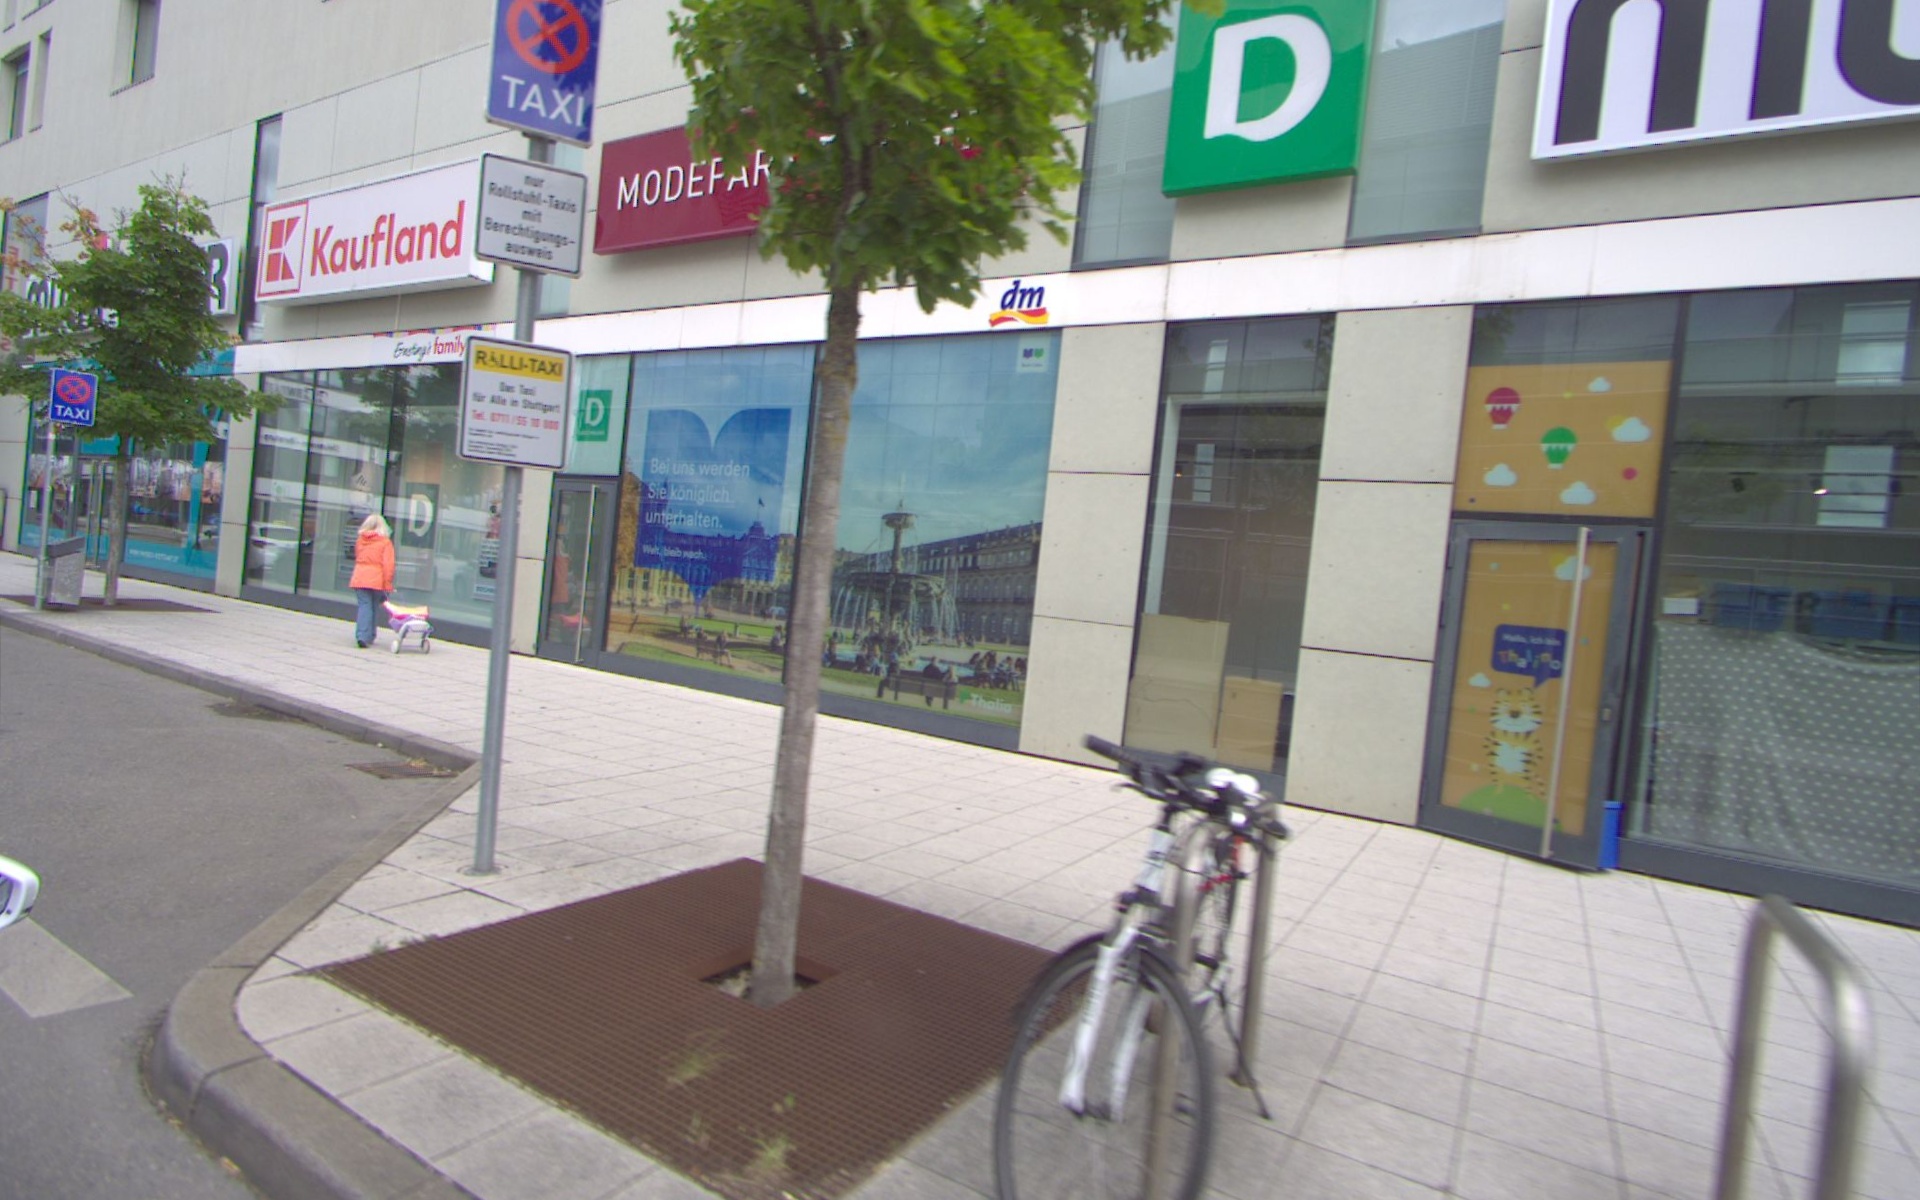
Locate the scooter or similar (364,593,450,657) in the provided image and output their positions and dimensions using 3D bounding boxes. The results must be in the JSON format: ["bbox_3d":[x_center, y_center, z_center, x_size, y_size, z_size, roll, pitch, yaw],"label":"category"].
[{"bbox_3d":[-6.443,0.291,11.724,0.755,0.643,0.551,7,2,32],"label":"scooter or similar"}]

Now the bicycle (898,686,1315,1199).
[{"bbox_3d":[0.518,0.870,2.684,0.551,1.115,1.742,7,2,24],"label":"bicycle"}]

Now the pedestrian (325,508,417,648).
[{"bbox_3d":[-7.050,-0.253,12.042,0.720,1.588,0.589,7,2,32],"label":"pedestrian"}]
